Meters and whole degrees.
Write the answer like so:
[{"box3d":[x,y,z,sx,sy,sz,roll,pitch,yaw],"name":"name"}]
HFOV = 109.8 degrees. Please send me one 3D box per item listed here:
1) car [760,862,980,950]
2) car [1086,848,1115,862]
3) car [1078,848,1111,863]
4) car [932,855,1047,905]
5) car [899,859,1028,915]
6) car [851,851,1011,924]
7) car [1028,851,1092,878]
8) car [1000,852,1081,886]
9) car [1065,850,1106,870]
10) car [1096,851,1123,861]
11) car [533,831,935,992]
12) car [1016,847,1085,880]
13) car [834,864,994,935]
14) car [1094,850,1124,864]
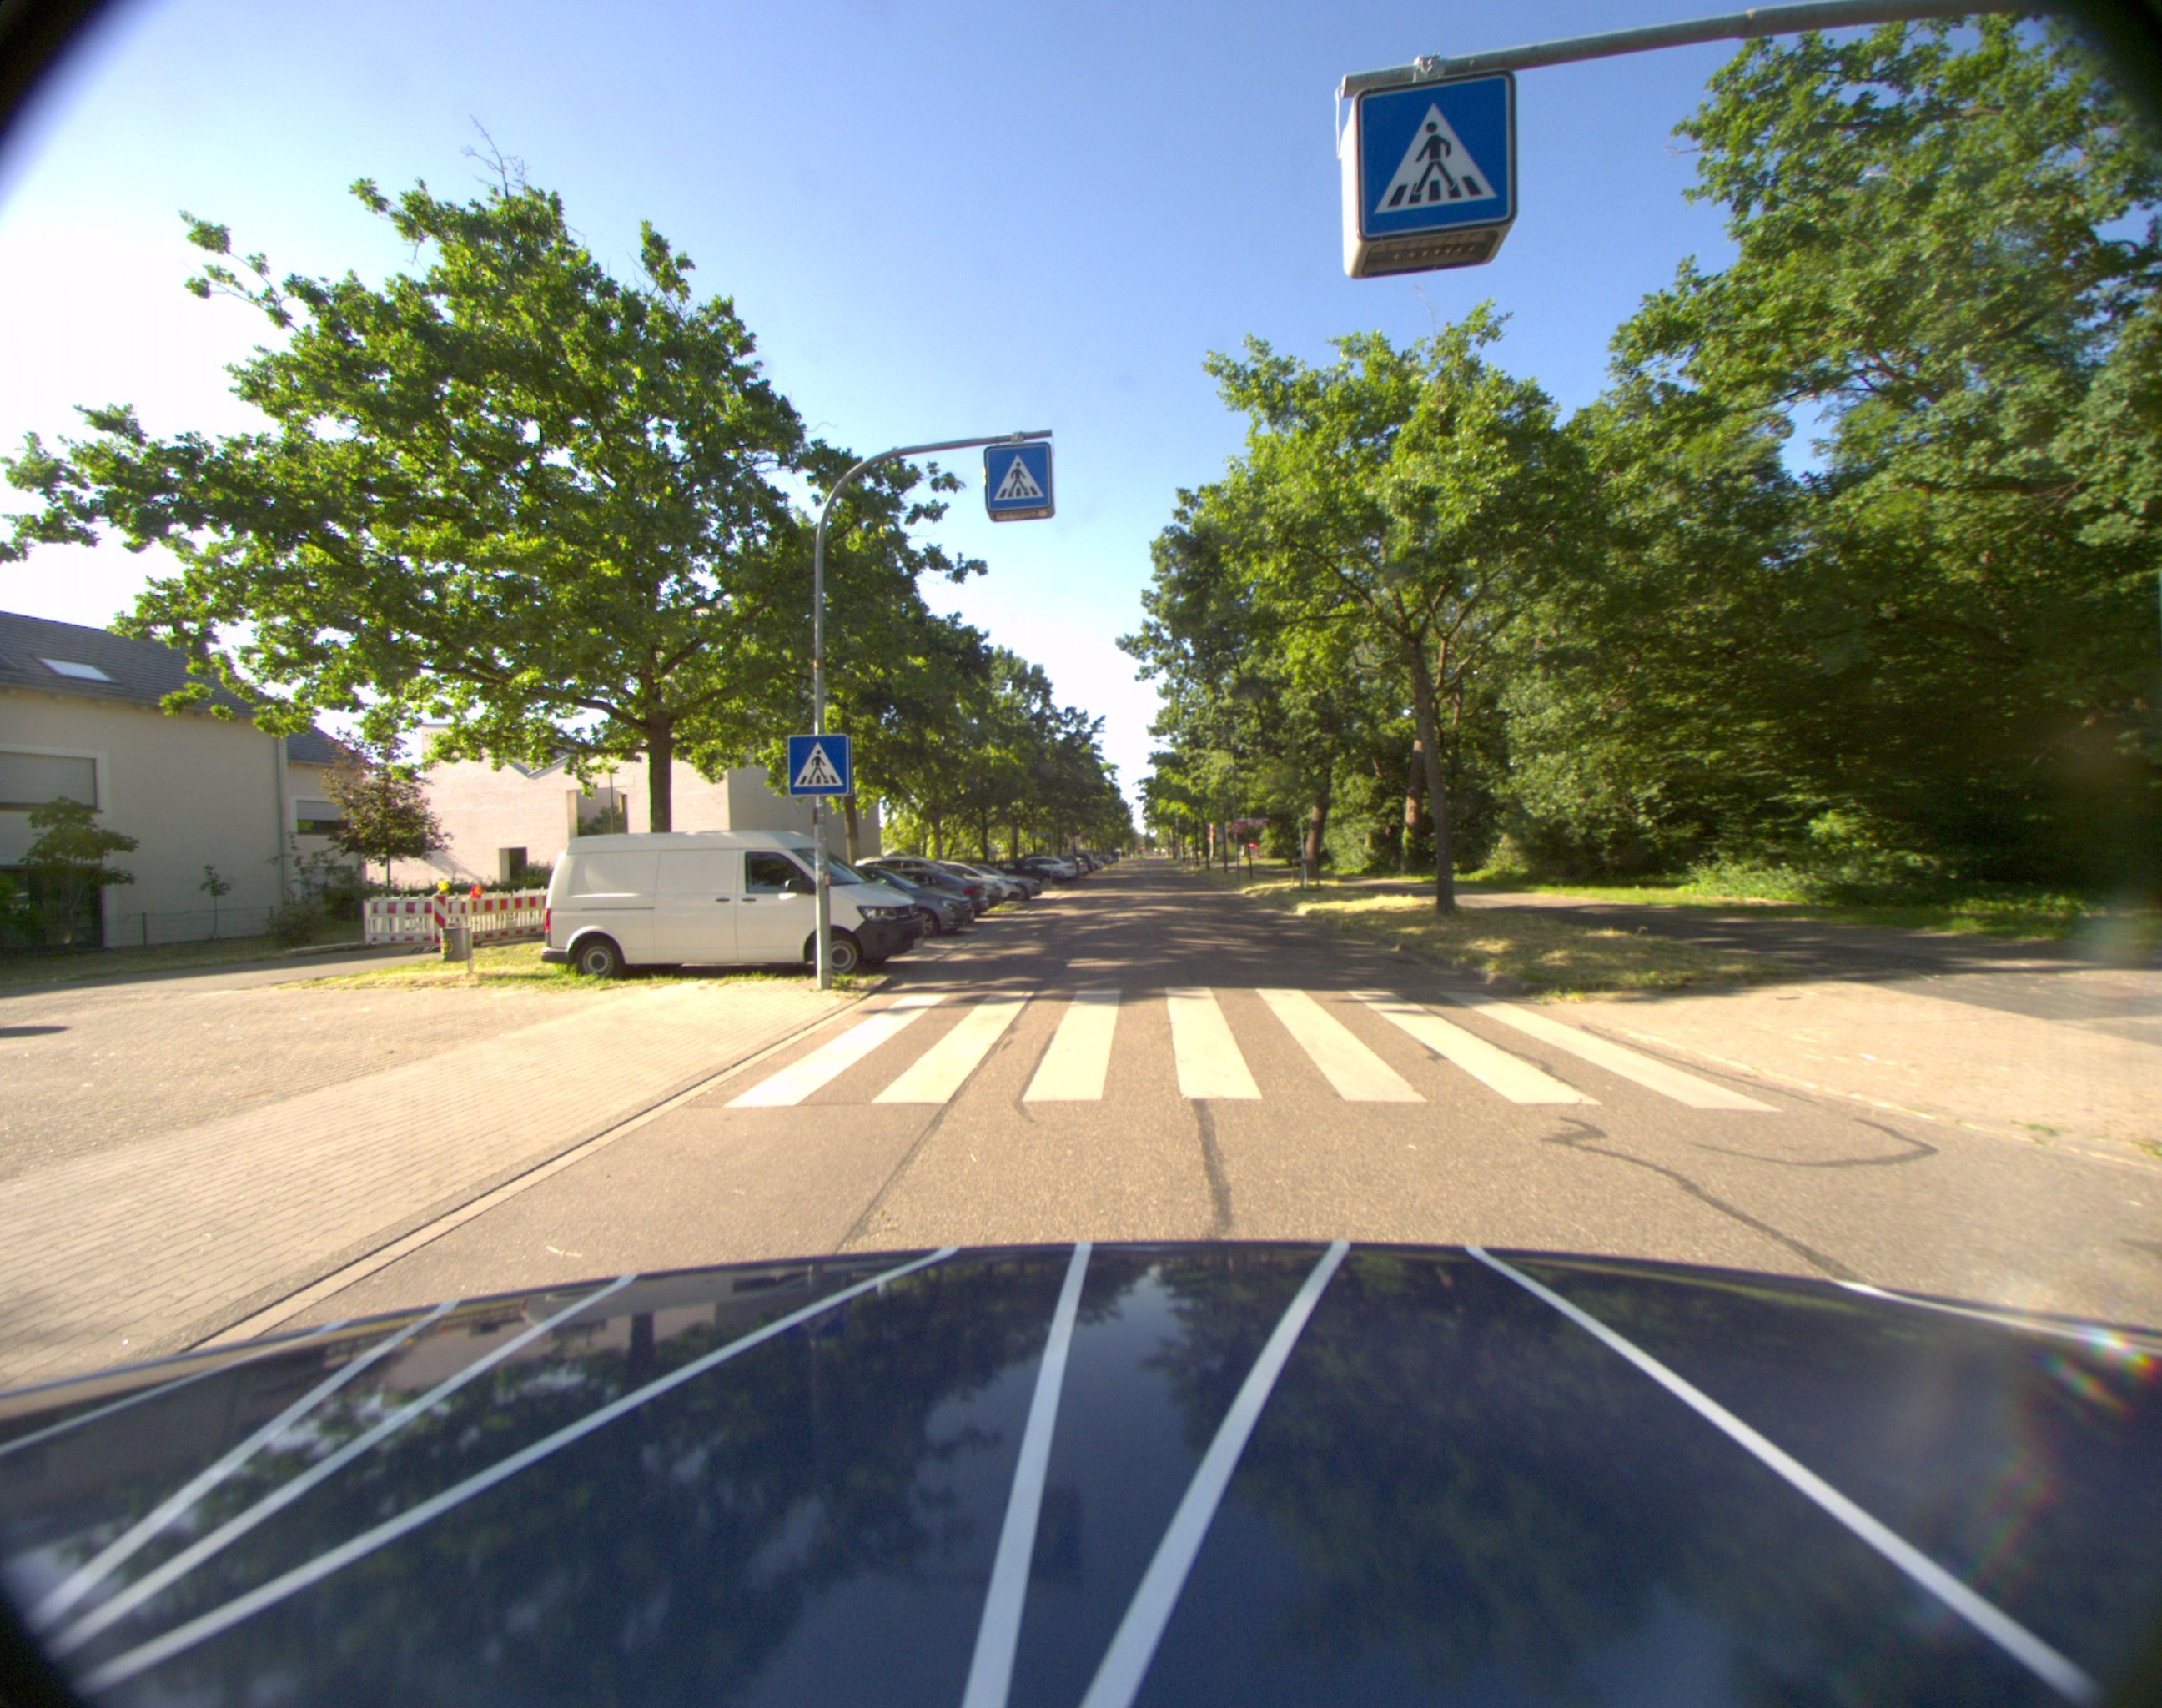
[{"box3d":[-4.315,1.057,15.888,3.995,1.554,1.758,-3,0,6],"name":"car"},{"box3d":[2.979,0.118,115.112,4.150,1.838,1.950,-3,0,5],"name":"car"},{"box3d":[1.795,0.184,98.962,4.150,1.838,1.950,-3,0,5],"name":"car"},{"box3d":[-3.446,0.974,28.963,4.018,1.650,1.533,-3,0,6],"name":"car"},{"box3d":[-3.989,1.105,25.998,4.018,1.669,1.533,-3,0,6],"name":"car"},{"box3d":[-4.155,0.921,21.402,4.018,1.783,1.713,-3,0,6],"name":"car"},{"box3d":[-1.483,0.765,55.308,4.393,1.733,1.533,-3,0,6],"name":"car"},{"box3d":[-2.331,0.854,43.864,4.393,1.733,1.533,-3,0,6],"name":"car"},{"box3d":[0.498,0.556,77.890,3.995,1.838,1.864,-3,0,5],"name":"car"},{"box3d":[4.519,0.362,120.013,4.150,1.401,1.801,-3,0,5],"name":"car"},{"box3d":[-4.920,0.798,11.228,5.044,2.069,1.891,-2,0,4],"name":"car"},{"box3d":[-2.053,0.613,51.467,4.393,1.977,1.533,-3,0,6],"name":"car"},{"box3d":[-4.086,1.106,18.842,3.514,1.533,1.449,-3,0,6],"name":"car"},{"box3d":[4.032,0.413,109.963,4.150,1.838,1.950,-3,0,5],"name":"car"}]
